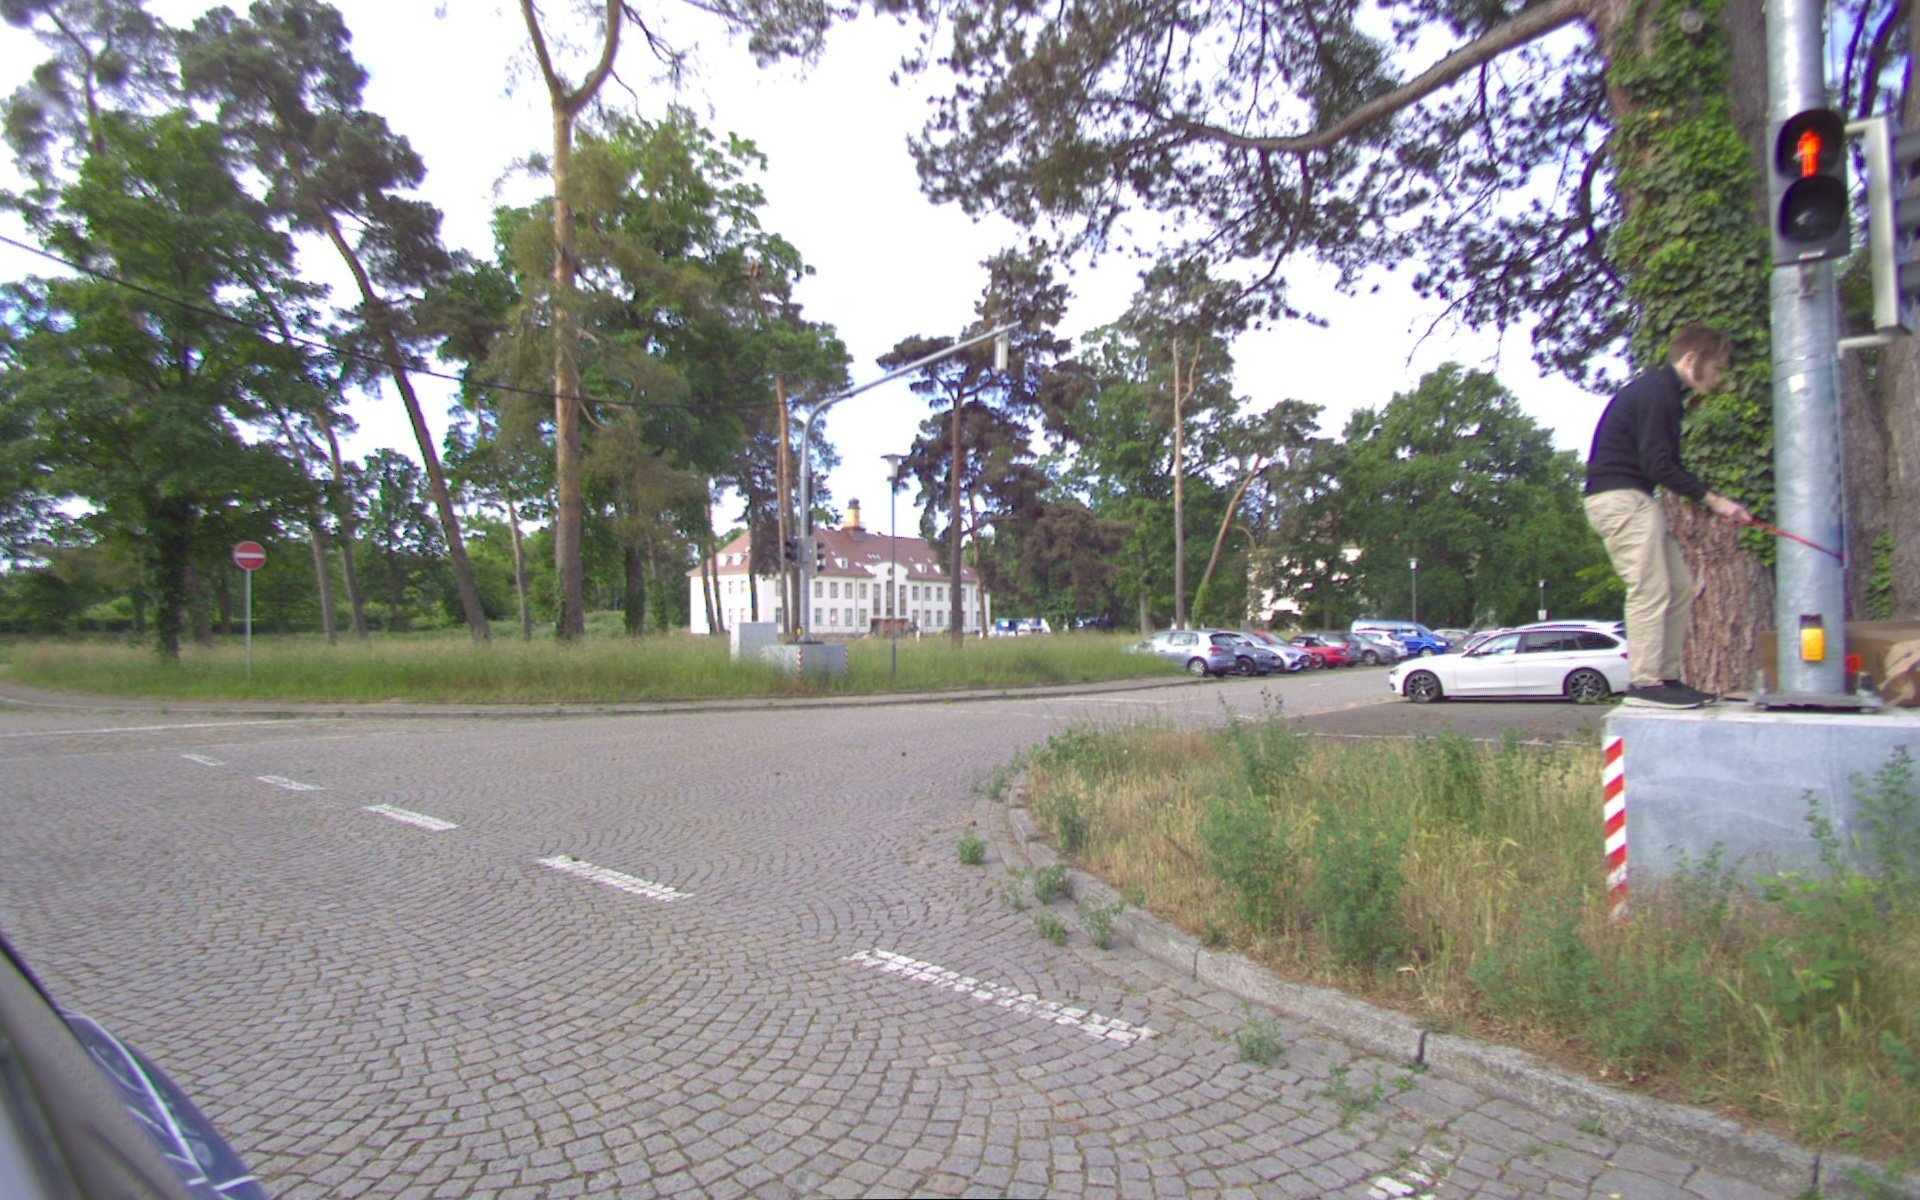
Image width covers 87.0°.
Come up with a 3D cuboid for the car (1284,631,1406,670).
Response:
[{"bbox_3d":[16.725,2.217,44.049,4.577,1.571,1.818,-4,-4,38],"label":"car"}]

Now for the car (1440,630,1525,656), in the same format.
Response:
[{"bbox_3d":[33.710,2.769,65.325,4.577,1.533,1.818,-4,-4,38],"label":"car"}]

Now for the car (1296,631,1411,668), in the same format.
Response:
[{"bbox_3d":[18.148,2.294,46.744,4.577,1.586,1.818,-4,-4,38],"label":"car"}]

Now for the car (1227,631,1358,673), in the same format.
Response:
[{"bbox_3d":[13.145,2.058,40.139,4.577,1.533,1.818,-4,-4,38],"label":"car"}]

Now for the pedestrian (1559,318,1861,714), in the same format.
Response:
[{"bbox_3d":[3.310,-0.311,4.486,0.870,1.529,0.823,1,-2,-36],"label":"pedestrian"}]

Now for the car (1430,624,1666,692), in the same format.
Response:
[{"bbox_3d":[13.943,1.387,24.171,4.581,1.480,1.816,-4,-4,40],"label":"car"}]

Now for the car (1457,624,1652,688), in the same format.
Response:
[{"bbox_3d":[15.457,1.481,26.442,4.110,1.533,1.714,-4,-4,40],"label":"car"}]

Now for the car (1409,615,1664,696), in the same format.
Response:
[{"bbox_3d":[12.448,1.237,22.014,4.577,1.590,1.818,-4,-4,38],"label":"car"}]

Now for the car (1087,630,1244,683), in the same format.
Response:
[{"bbox_3d":[6.589,1.834,32.603,4.570,1.559,1.821,-3,-3,32],"label":"car"}]

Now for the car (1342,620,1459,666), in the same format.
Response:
[{"bbox_3d":[21.932,2.169,50.467,4.976,2.113,1.817,-4,-4,39],"label":"car"}]

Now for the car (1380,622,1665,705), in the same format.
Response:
[{"bbox_3d":[10.956,1.255,19.899,4.648,1.461,1.818,-4,-4,38],"label":"car"}]

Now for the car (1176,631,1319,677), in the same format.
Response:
[{"bbox_3d":[10.306,1.949,36.434,4.577,1.533,1.818,-4,-4,38],"label":"car"}]

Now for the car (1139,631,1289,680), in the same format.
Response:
[{"bbox_3d":[8.600,1.896,34.425,4.577,1.533,1.818,-4,-4,38],"label":"car"}]

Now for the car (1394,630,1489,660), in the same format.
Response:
[{"bbox_3d":[27.309,2.564,57.457,4.577,1.533,1.818,-4,-4,38],"label":"car"}]

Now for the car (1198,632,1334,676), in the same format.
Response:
[{"bbox_3d":[11.572,2.065,38.453,4.577,1.571,1.818,-4,-4,38],"label":"car"}]

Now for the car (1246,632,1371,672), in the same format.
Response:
[{"bbox_3d":[14.548,2.189,42.338,4.577,1.533,1.818,-4,-4,38],"label":"car"}]

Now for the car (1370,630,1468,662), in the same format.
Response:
[{"bbox_3d":[23.718,2.408,52.390,4.281,1.533,1.728,-4,-4,38],"label":"car"}]
